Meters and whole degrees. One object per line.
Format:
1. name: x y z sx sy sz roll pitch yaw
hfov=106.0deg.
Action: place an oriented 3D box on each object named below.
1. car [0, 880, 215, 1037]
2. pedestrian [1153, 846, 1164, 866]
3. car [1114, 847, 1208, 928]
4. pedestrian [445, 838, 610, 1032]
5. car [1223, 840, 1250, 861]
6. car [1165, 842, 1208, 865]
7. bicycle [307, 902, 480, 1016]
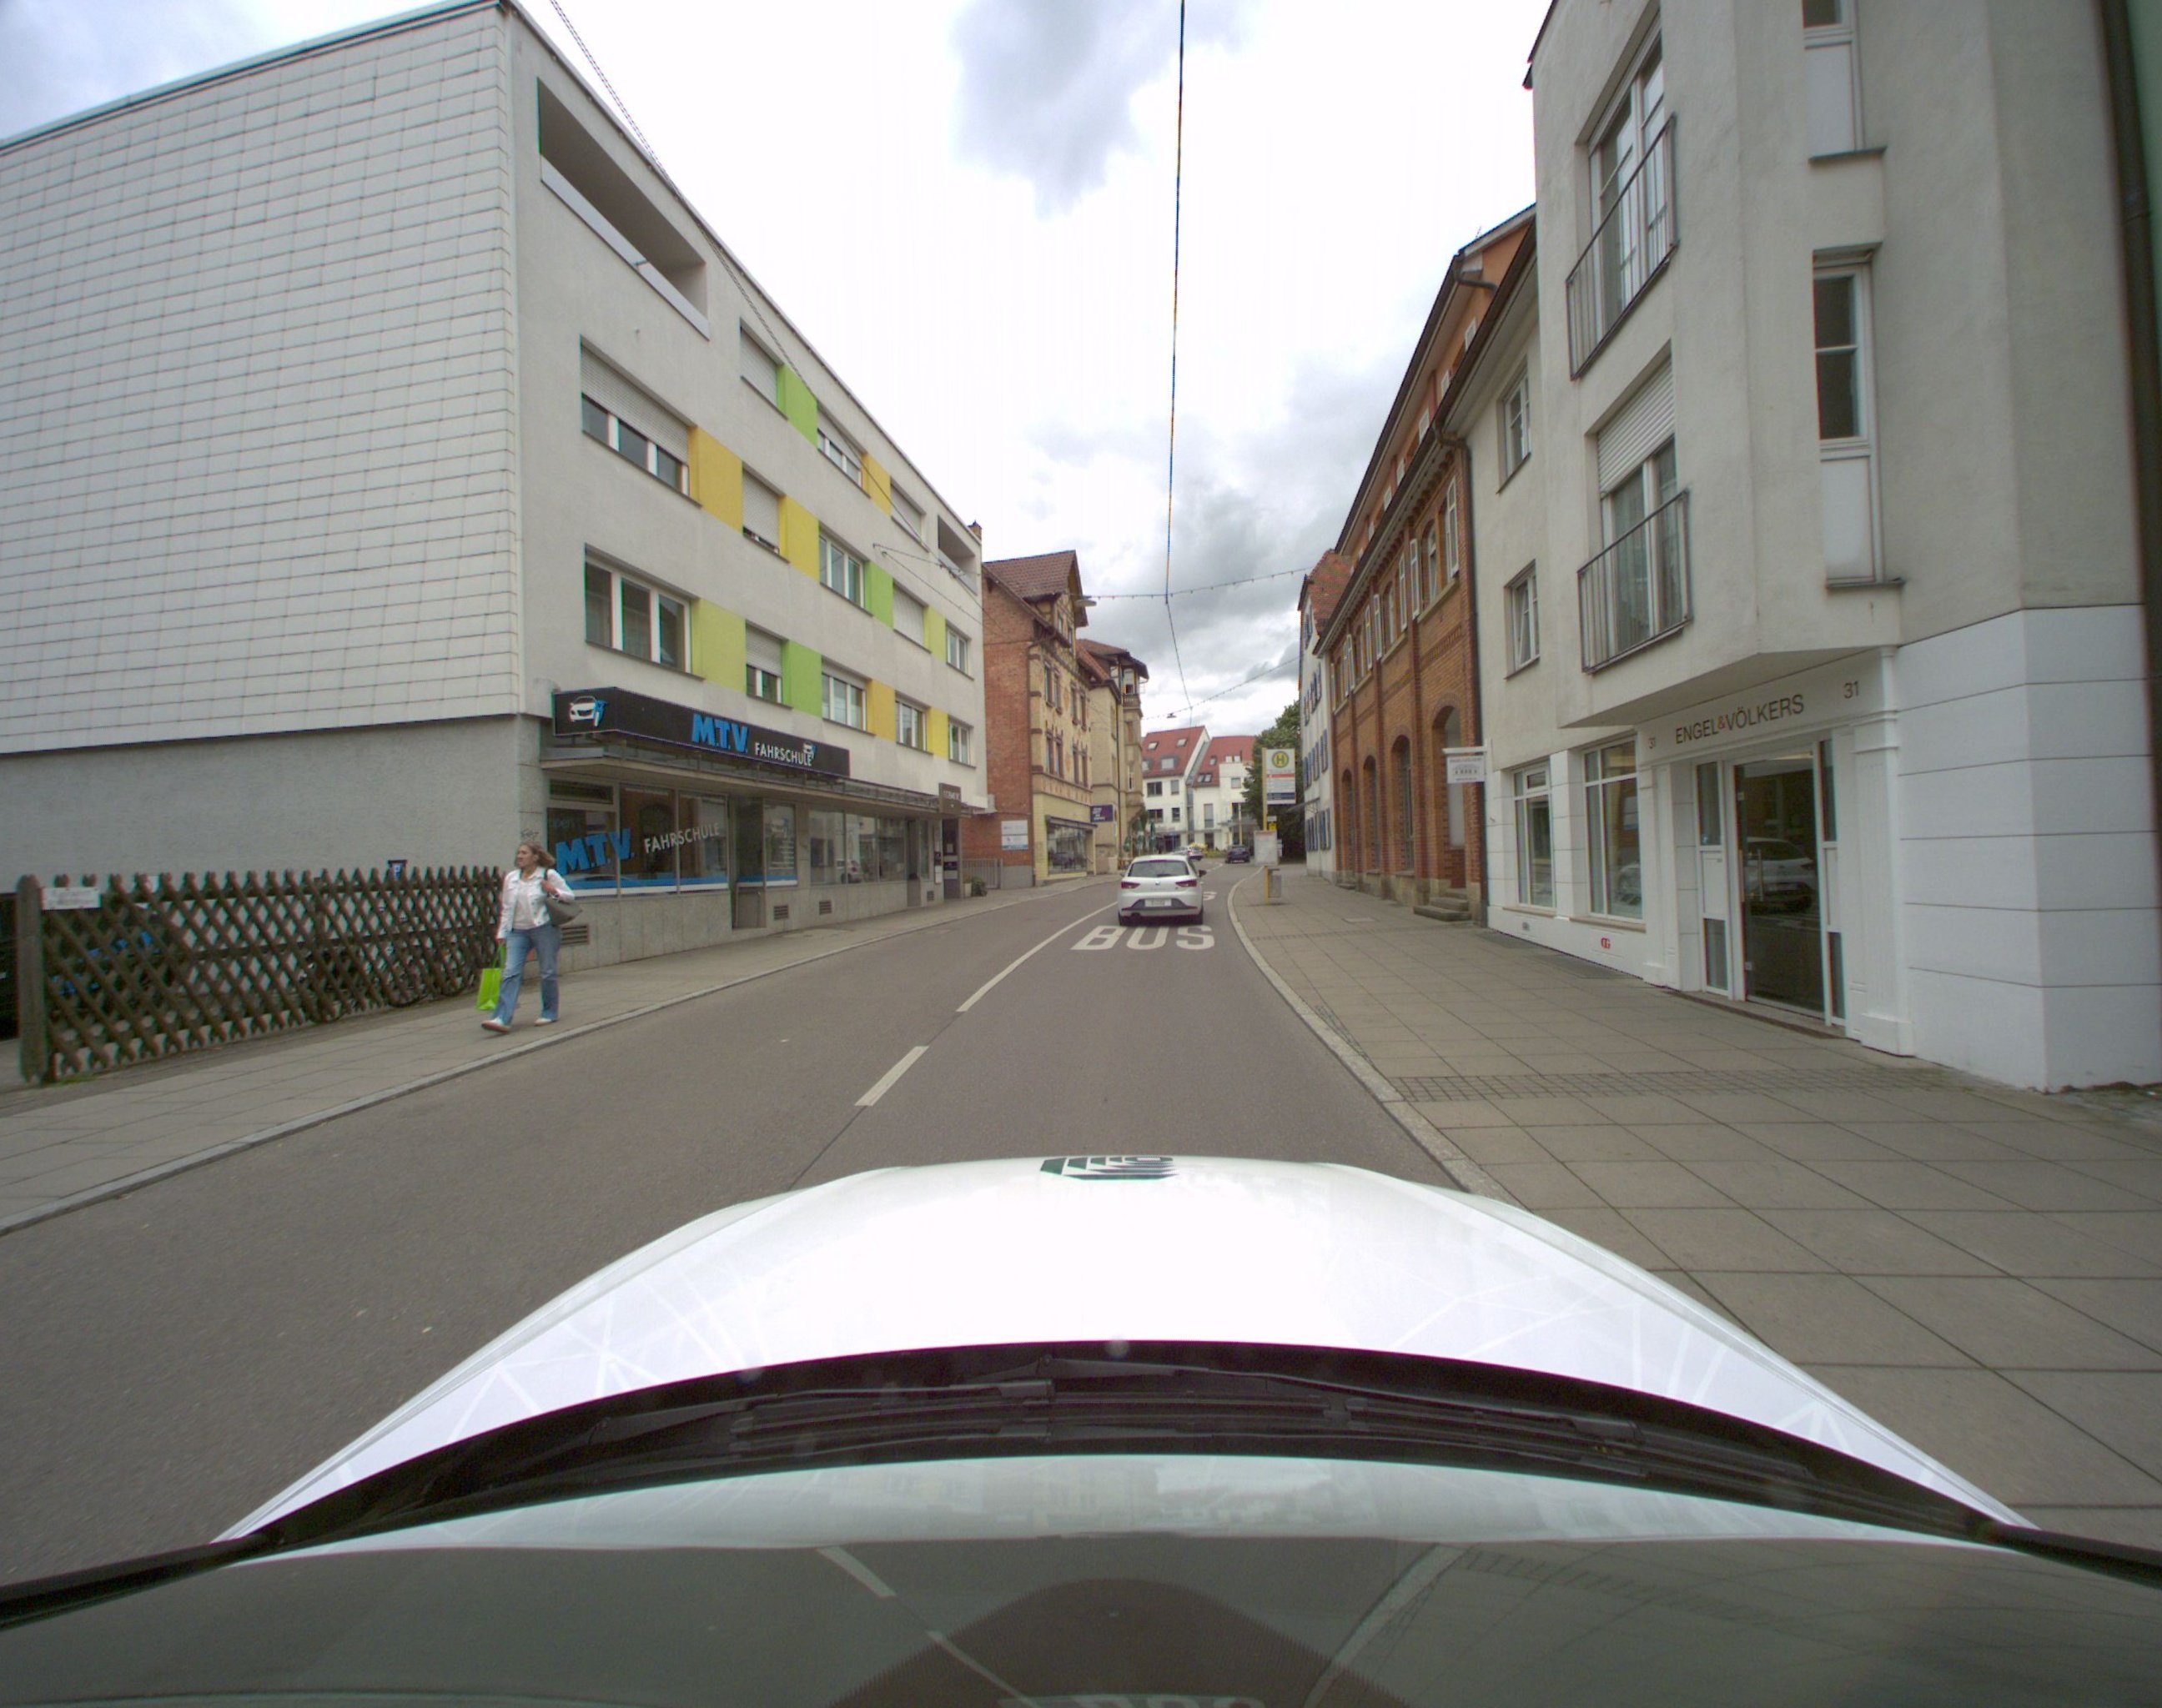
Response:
1. car: -12.192 1.149 8.440 1.990 1.563 4.281 -2 0 -5
2. pedestrian: 6.180 0.187 64.652 0.830 1.552 0.628 -2 0 6
3. car: 1.841 0.653 17.922 1.801 1.480 3.880 -2 1 8
4. pedestrian: -5.090 0.707 7.557 0.890 1.665 0.860 -2 0 -3
5. car: 12.207 -0.291 64.229 1.802 1.480 3.878 -2 1 7
6. car: 9.828 -0.018 76.398 2.006 2.013 3.962 -2 0 -29
7. bicycle: -7.710 1.132 9.240 0.321 1.053 1.751 -2 0 5
